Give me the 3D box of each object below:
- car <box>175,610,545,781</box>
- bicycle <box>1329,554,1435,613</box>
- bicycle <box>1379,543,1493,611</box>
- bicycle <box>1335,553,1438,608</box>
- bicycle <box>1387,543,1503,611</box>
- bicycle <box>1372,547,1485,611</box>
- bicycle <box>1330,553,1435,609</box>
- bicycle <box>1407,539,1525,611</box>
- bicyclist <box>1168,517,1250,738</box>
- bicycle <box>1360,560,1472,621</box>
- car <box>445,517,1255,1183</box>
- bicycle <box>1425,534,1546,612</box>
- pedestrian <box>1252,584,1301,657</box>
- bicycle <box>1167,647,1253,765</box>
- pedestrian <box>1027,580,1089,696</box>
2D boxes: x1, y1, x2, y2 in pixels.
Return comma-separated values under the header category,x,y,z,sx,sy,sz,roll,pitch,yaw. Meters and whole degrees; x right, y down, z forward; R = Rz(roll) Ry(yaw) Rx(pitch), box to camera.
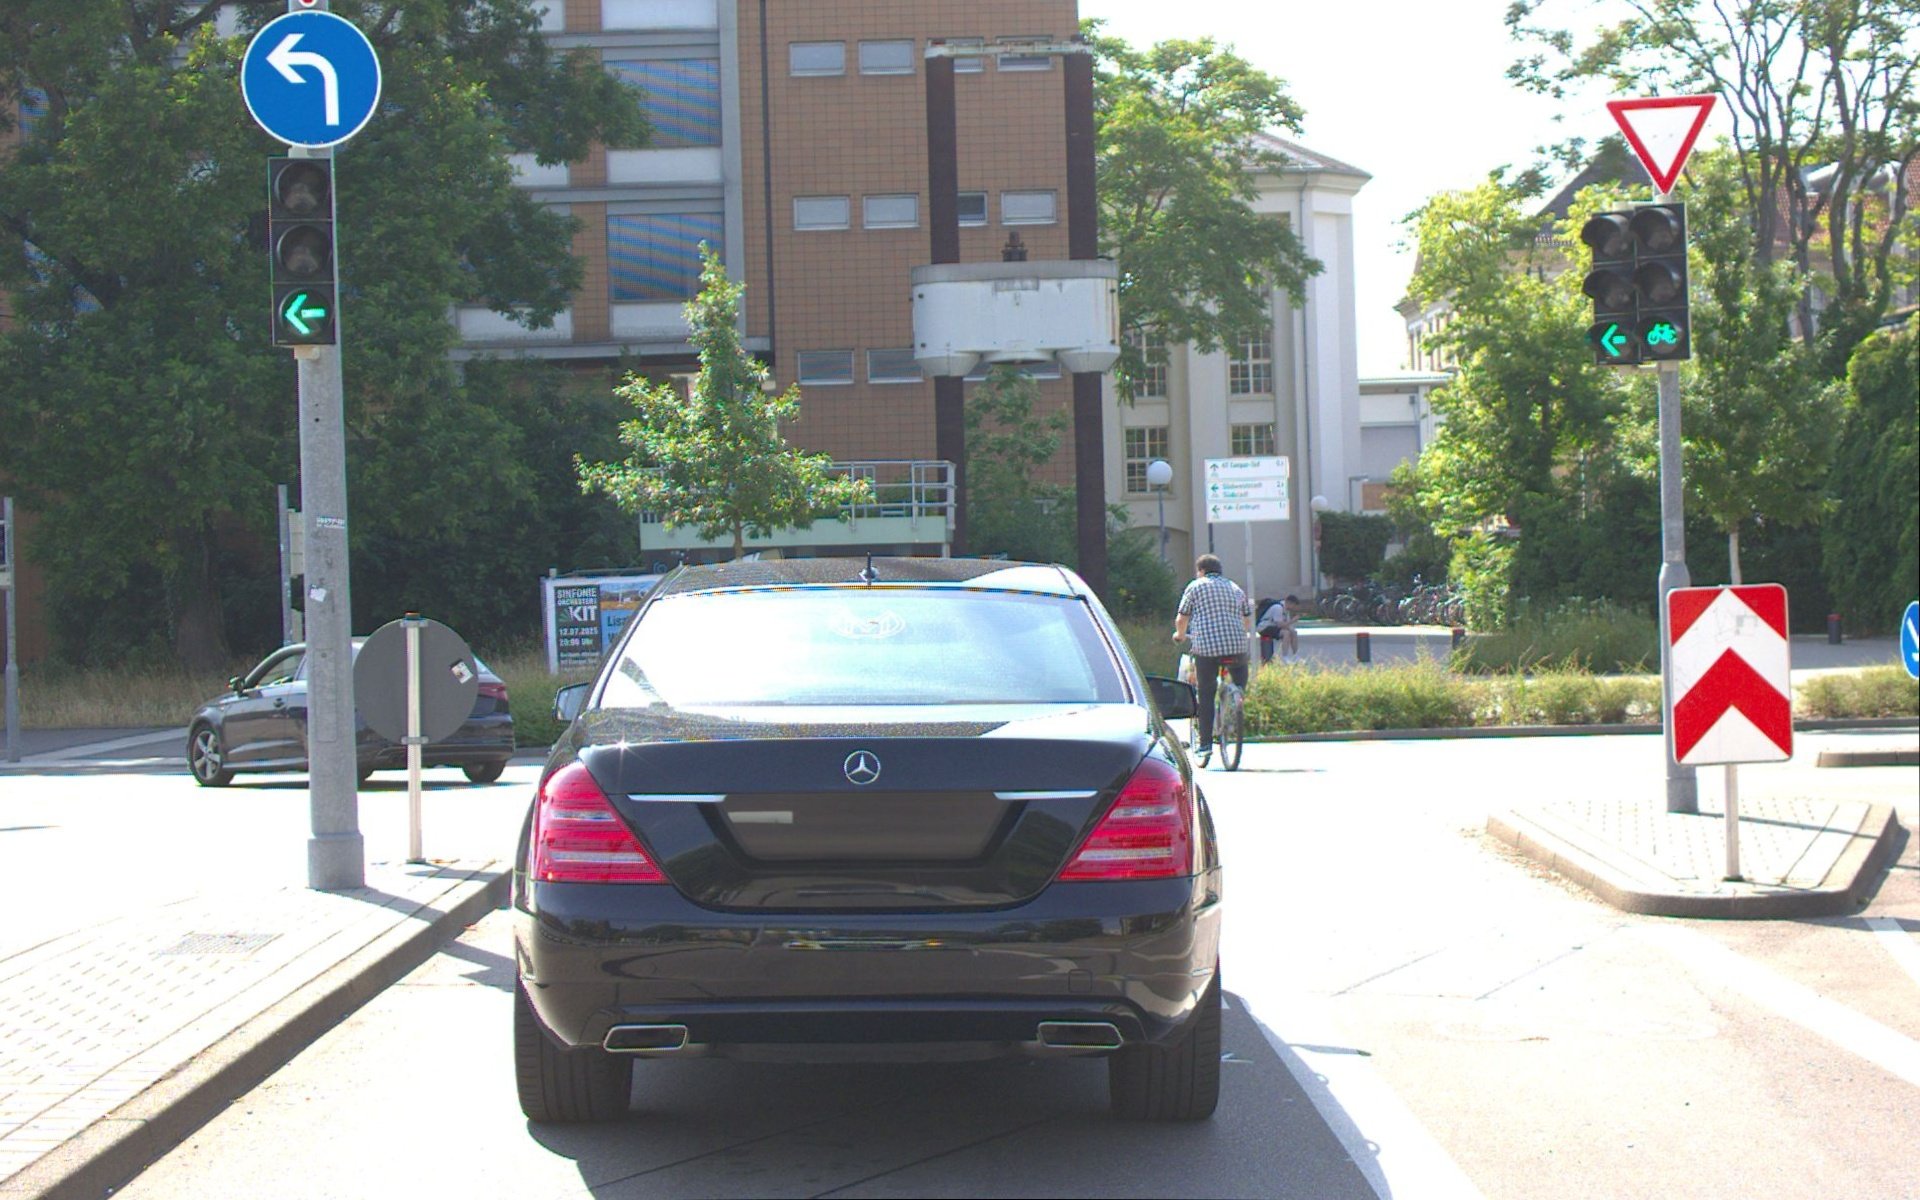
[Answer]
category,x,y,z,sx,sy,sz,roll,pitch,yaw
car,-5.778,0.912,32.777,1.795,1.505,3.999,0,-2,-38
bicycle,11.840,-0.460,96.477,2.823,1.553,0.842,-2,0,-1
bicycle,12.483,-0.611,90.156,2.823,1.653,0.842,-2,2,-1
bicycle,12.346,-0.571,99.550,2.823,1.475,0.841,-2,0,0
bicycle,12.529,-0.595,88.946,2.823,1.643,0.842,-2,0,-1
bicycle,12.432,-0.558,91.224,2.823,1.581,0.842,-2,0,-1
bicycle,12.072,-0.543,98.263,2.823,1.495,0.842,-2,0,-1
bicycle,12.893,-0.644,87.698,2.823,1.738,0.842,-2,0,-1
bicyclist,2.138,0.232,29.594,0.686,1.872,0.859,0,0,3
bicycle,12.230,-0.250,92.245,2.823,1.532,0.842,-2,0,-1
car,-0.250,0.569,10.278,1.858,1.525,4.714,0,0,0
bicycle,13.050,-0.666,85.439,2.823,1.830,0.842,-2,0,-1
pedestrian,5.323,0.338,57.750,0.793,1.209,0.757,1,0,6
bicycle,2.141,0.896,29.622,0.692,0.943,1.958,1,0,3
pedestrian,1.352,0.519,47.616,0.811,1.574,0.692,-2,0,2
